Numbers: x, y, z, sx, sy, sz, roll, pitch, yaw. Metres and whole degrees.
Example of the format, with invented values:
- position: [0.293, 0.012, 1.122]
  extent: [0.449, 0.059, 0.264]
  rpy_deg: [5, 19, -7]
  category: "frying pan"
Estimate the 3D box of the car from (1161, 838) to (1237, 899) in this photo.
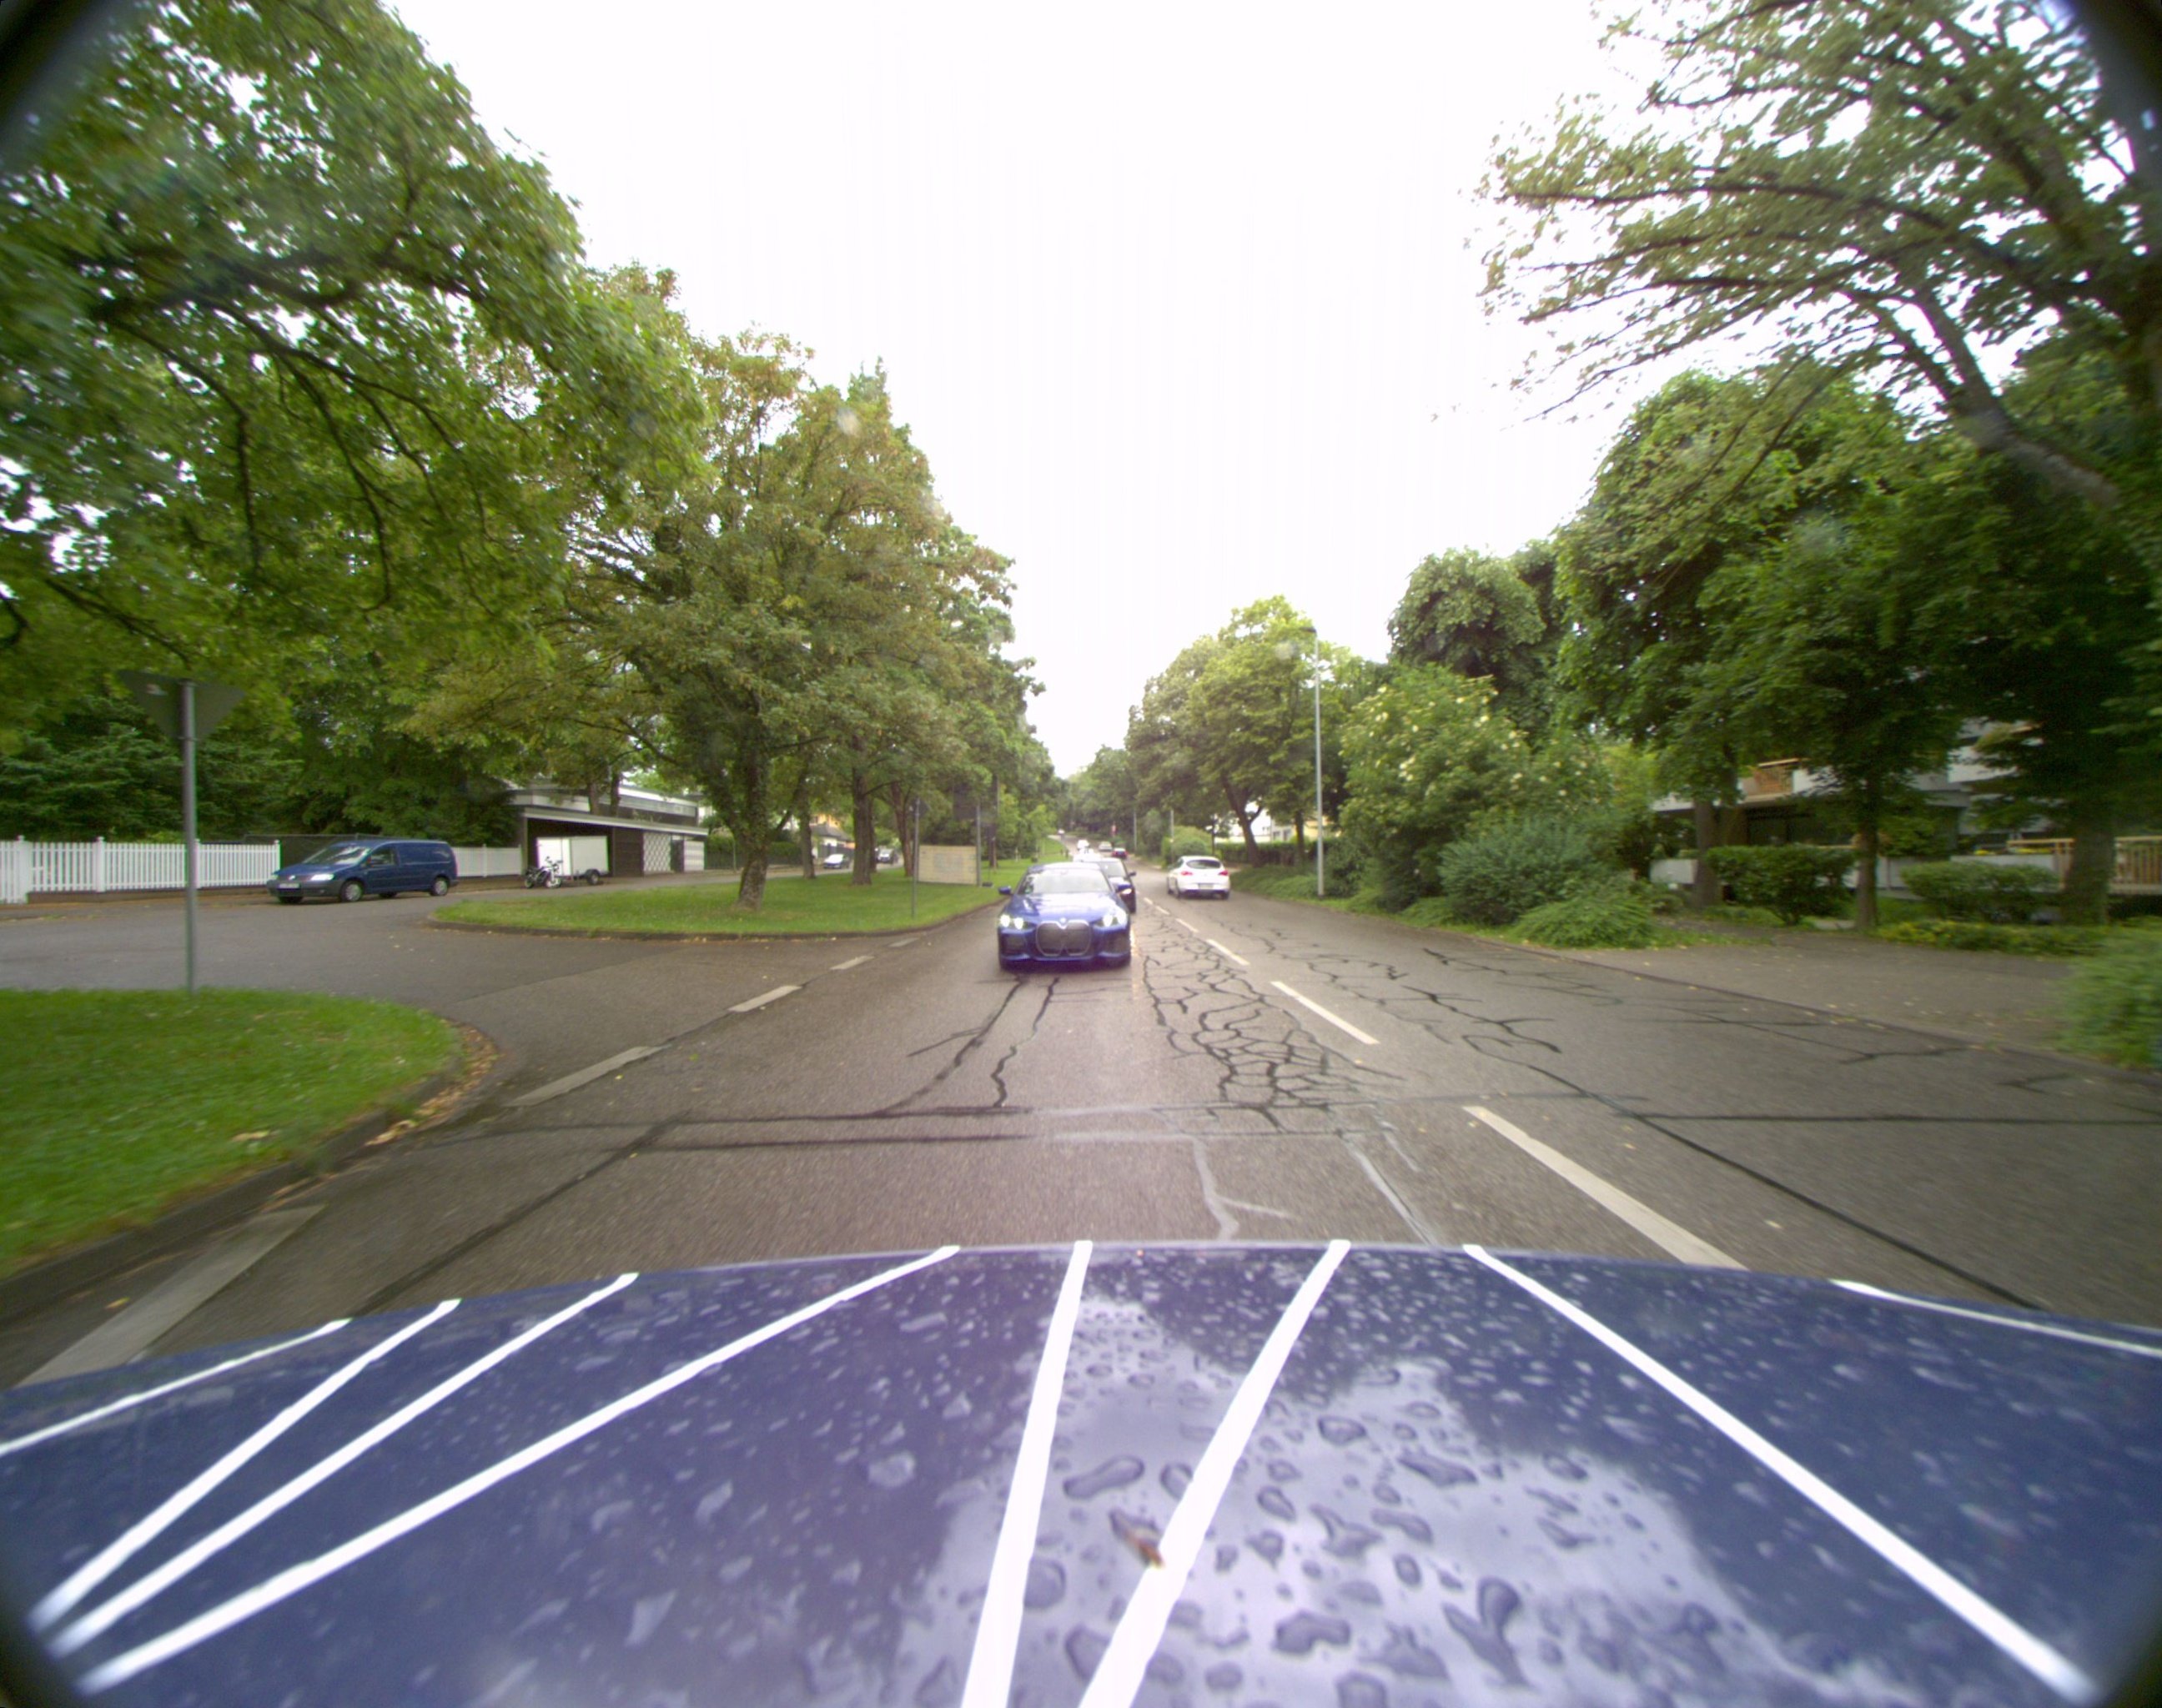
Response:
- position: [4.104, 0.477, 27.140]
  extent: [1.998, 2.002, 4.573]
  rpy_deg: [0, 0, 0]
  category: "car"

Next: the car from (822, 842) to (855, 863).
- position: [-23.533, -0.171, 73.875]
  extent: [1.998, 2.002, 3.999]
  rpy_deg: [0, 1, 0]
  category: "car"

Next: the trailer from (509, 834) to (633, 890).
- position: [-21.247, 0.278, 31.972]
  extent: [1.771, 2.104, 5.191]
  rpy_deg: [-2, 1, -2]
  category: "trailer"

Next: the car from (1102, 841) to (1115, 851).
- position: [4.218, -1.218, 115.974]
  extent: [1.825, 1.471, 4.067]
  rpy_deg: [0, 1, 3]
  category: "car"

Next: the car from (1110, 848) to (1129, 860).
- position: [4.428, -0.040, 88.444]
  extent: [1.769, 1.341, 4.375]
  rpy_deg: [1, 1, -2]
  category: "car"

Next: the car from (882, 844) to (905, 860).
- position: [-24.141, -0.251, 97.893]
  extent: [1.999, 2.001, 4.000]
  rpy_deg: [0, -2, -2]
  category: "car"

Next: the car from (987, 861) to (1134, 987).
- position: [-0.259, 0.919, 11.774]
  extent: [1.826, 1.471, 4.067]
  rpy_deg: [-2, 1, 0]
  category: "car"

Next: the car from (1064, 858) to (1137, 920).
- position: [0.507, 0.909, 21.616]
  extent: [1.826, 1.471, 4.067]
  rpy_deg: [-2, 1, 0]
  category: "car"

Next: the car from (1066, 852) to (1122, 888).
- position: [0.537, 0.709, 35.588]
  extent: [2.033, 1.471, 4.064]
  rpy_deg: [-2, 1, -7]
  category: "car"

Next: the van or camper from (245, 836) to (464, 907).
- position: [-21.079, 0.441, 22.409]
  extent: [1.999, 1.798, 4.773]
  rpy_deg: [-2, 1, -4]
  category: "van or camper"
